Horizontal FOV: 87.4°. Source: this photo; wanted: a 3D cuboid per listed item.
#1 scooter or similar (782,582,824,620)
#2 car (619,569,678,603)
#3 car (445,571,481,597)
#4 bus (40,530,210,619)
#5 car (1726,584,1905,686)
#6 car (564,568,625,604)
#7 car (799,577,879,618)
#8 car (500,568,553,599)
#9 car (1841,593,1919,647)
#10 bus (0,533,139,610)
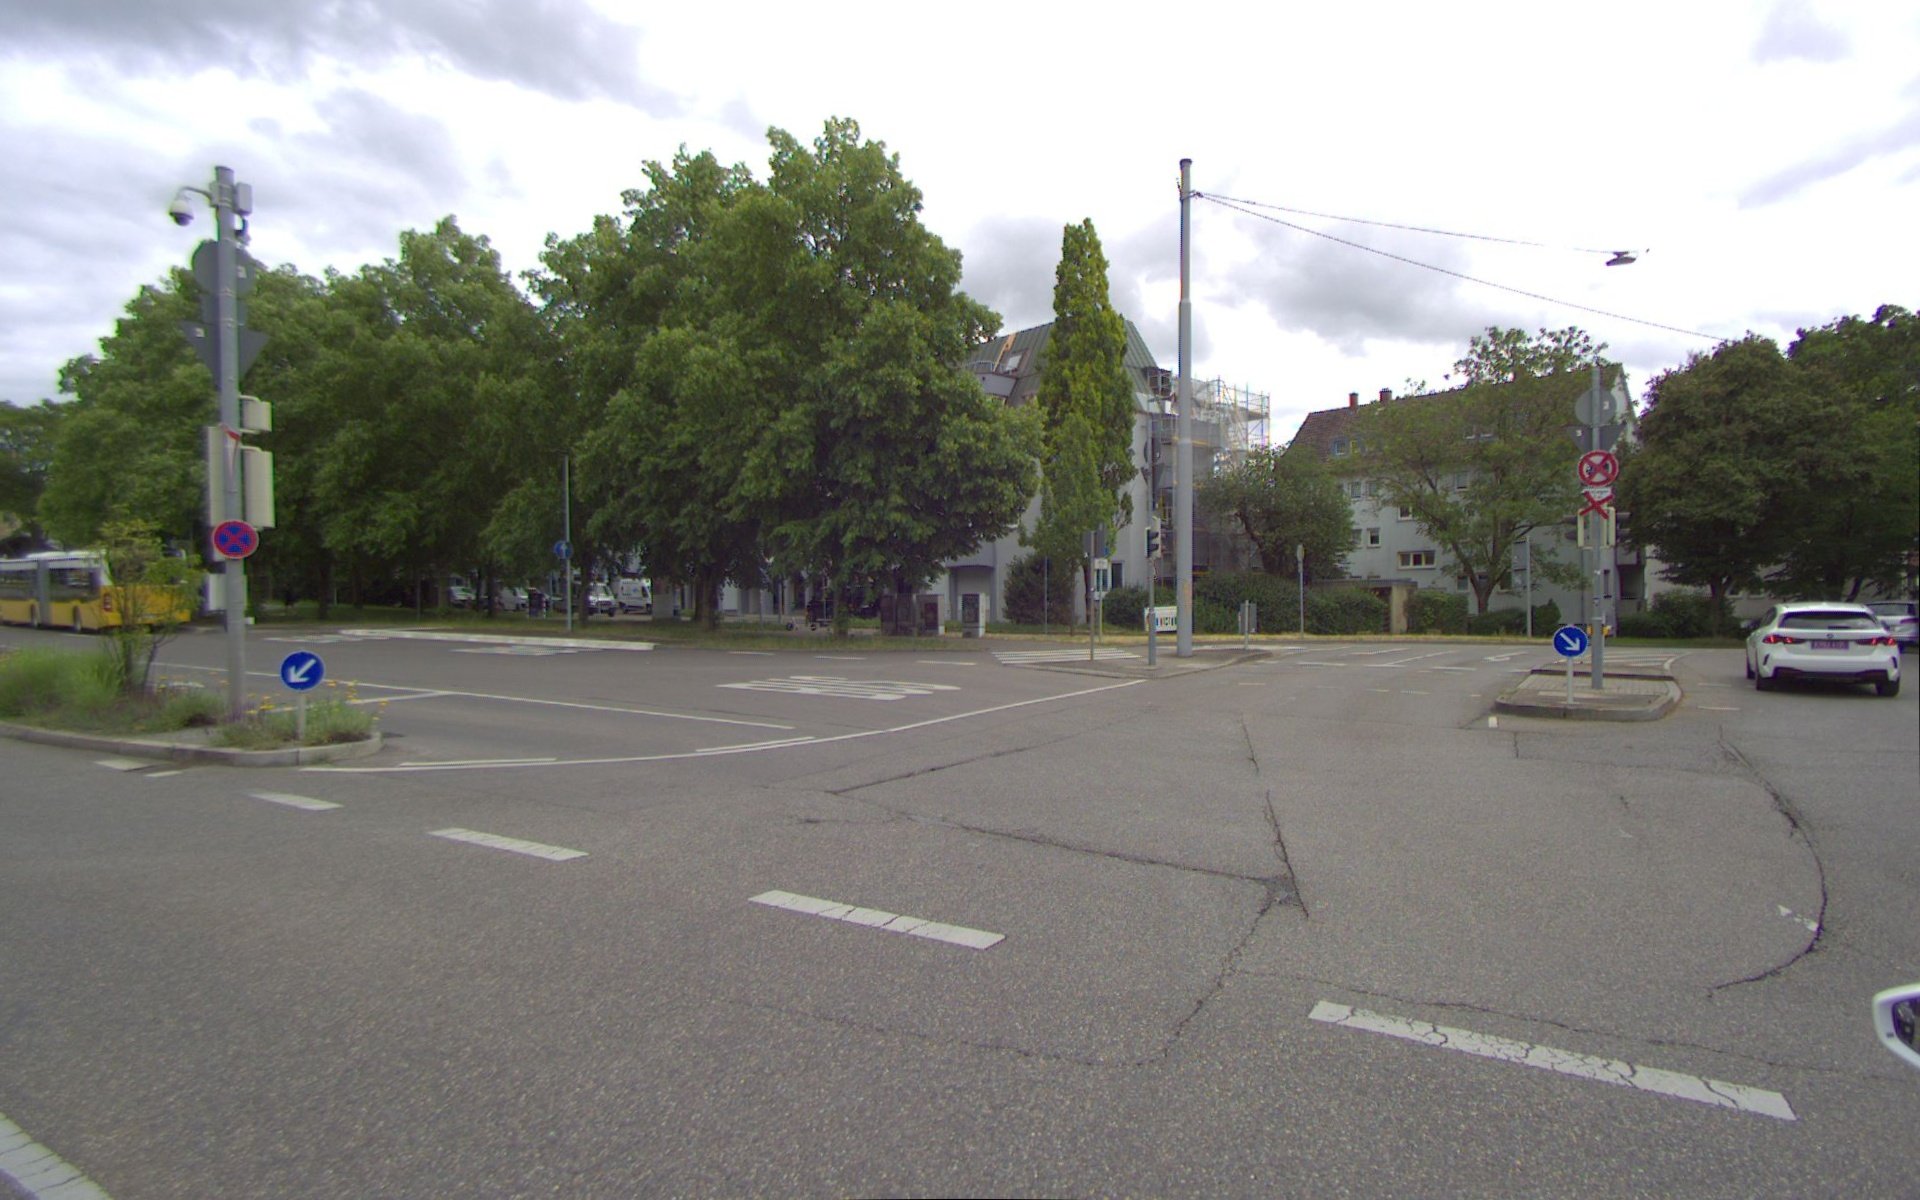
[{"bbox_3d":[-6.310,0.031,40.435,1.561,1.465,0.555,1,2,1],"label":"scooter or similar"},{"bbox_3d":[-22.507,-1.057,72.412,2.298,2.285,5.430,-1,3,-39],"label":"car"},{"bbox_3d":[-40.868,-1.315,82.534,1.980,1.965,4.545,-1,3,-36],"label":"car"},{"bbox_3d":[-31.872,-1.026,38.227,8.293,3.050,3.042,2,3,36],"label":"bus"},{"bbox_3d":[14.792,0.569,17.613,1.770,1.537,4.196,1,0,32],"label":"car"},{"bbox_3d":[-23.752,-0.923,65.117,2.201,2.145,5.246,-1,3,-39],"label":"car"},{"bbox_3d":[-5.266,-0.104,43.433,1.633,1.692,3.907,1,0,-38],"label":"car"},{"bbox_3d":[-32.192,-1.286,74.500,2.298,2.120,5.430,-1,3,-39],"label":"car"},{"bbox_3d":[29.177,0.616,31.019,3.955,1.595,1.913,1,0,-32],"label":"car"},{"bbox_3d":[-39.032,-1.289,43.531,9.539,3.050,3.042,2,3,36],"label":"bus"}]
